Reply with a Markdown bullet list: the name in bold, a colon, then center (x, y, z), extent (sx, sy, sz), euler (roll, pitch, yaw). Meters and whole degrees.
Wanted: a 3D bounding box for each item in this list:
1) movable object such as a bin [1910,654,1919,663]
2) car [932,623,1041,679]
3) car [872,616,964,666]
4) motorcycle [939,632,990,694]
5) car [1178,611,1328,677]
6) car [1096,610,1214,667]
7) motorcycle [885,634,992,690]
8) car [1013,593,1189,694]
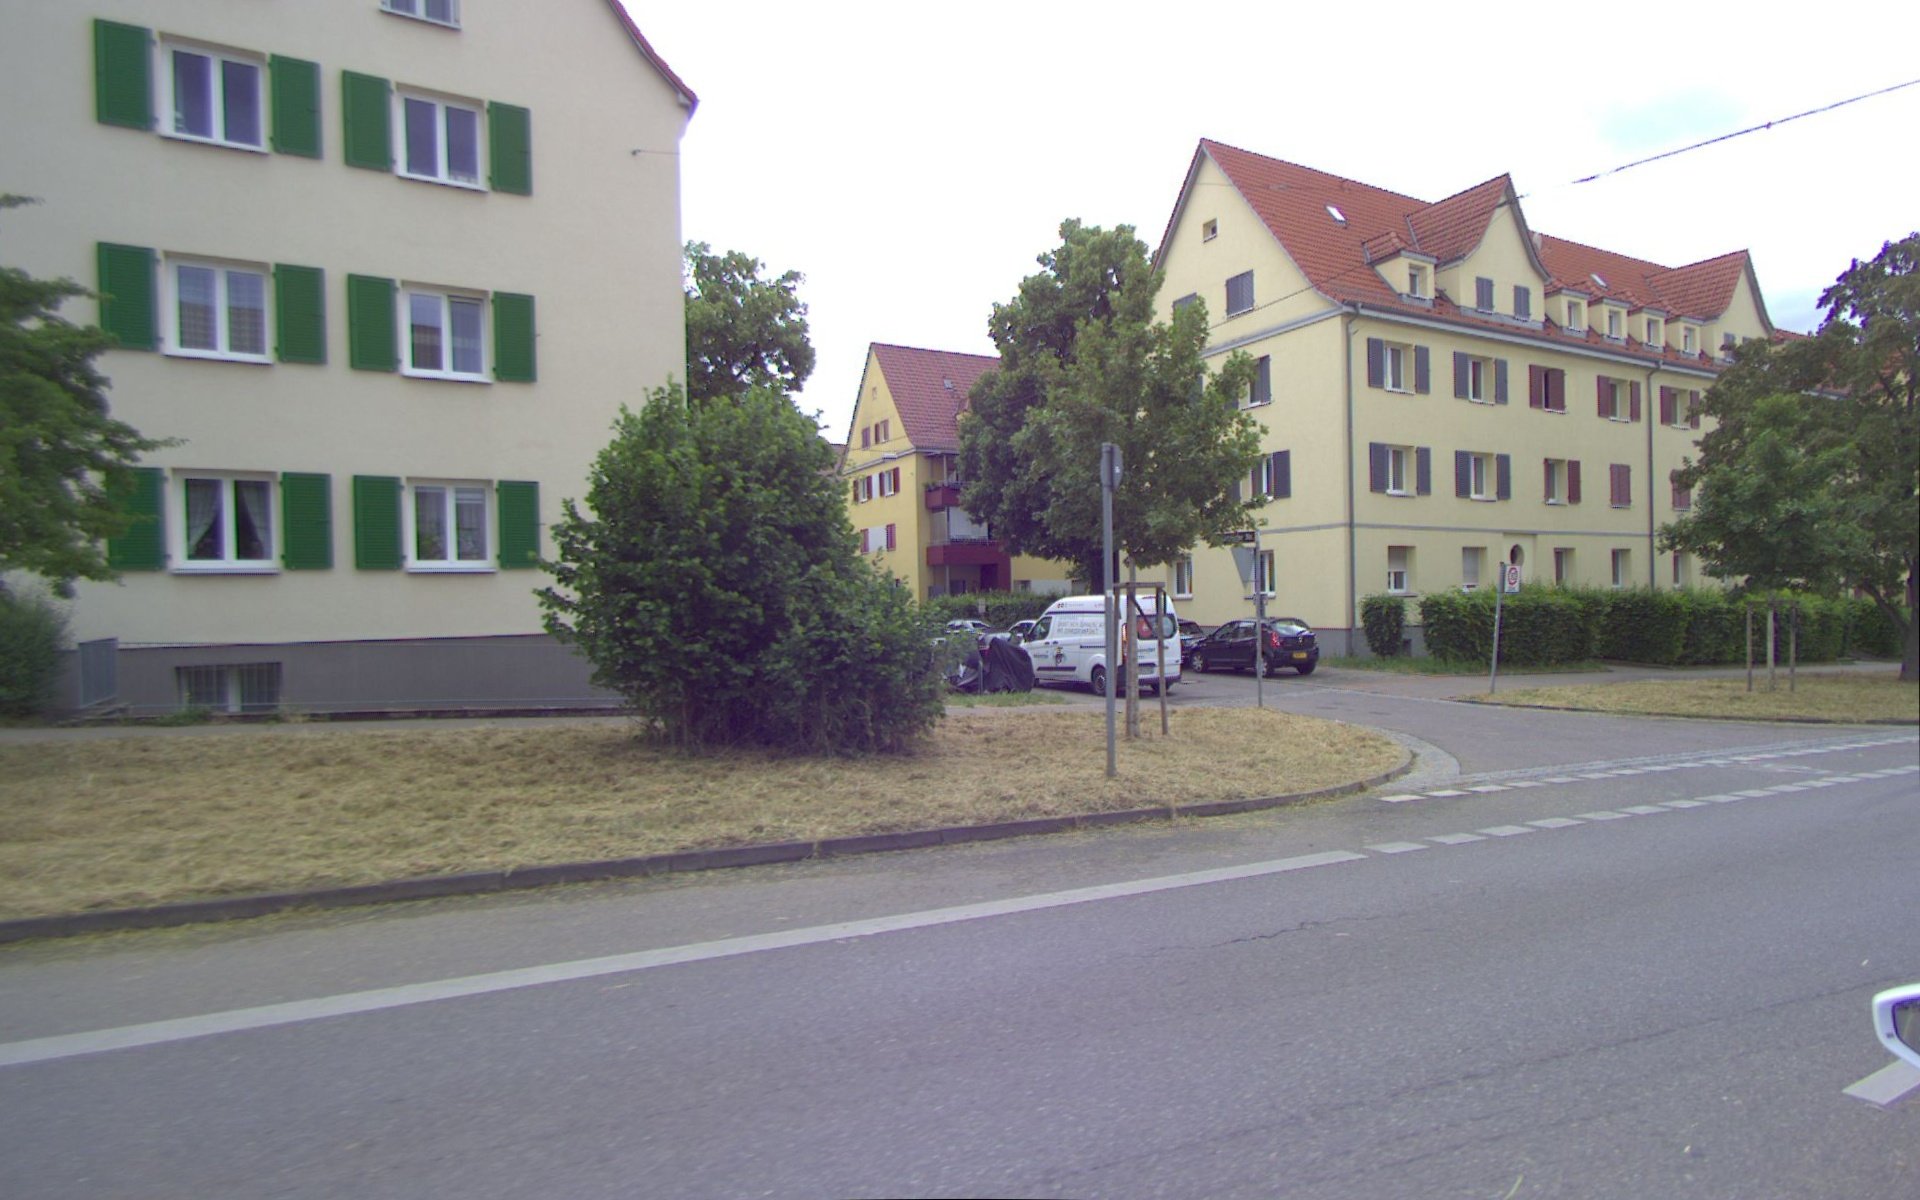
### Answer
- **movable object such as a bin**: center (39.007, 2.380, 40.874), extent (0.573, 0.352, 0.305), euler (1, -1, -24)
- **car**: center (0.724, 1.487, 30.036), extent (1.722, 1.486, 3.805), euler (1, -1, -26)
- **car**: center (-1.532, 1.390, 35.162), extent (1.723, 1.587, 3.801), euler (1, -1, -28)
- **motorcycle**: center (0.132, 1.421, 23.252), extent (0.996, 1.295, 2.607), euler (1, -1, 4)
- **car**: center (7.902, 1.133, 27.435), extent (1.670, 1.550, 3.887), euler (-3, 1, -29)
- **car**: center (5.970, 1.142, 31.133), extent (1.601, 1.550, 3.634), euler (-3, 1, -29)
- **motorcycle**: center (-0.517, 1.512, 24.933), extent (2.583, 1.296, 1.006), euler (1, -1, -38)
- **car**: center (3.378, 1.037, 25.078), extent (1.970, 2.283, 4.699), euler (2, -2, -28)
